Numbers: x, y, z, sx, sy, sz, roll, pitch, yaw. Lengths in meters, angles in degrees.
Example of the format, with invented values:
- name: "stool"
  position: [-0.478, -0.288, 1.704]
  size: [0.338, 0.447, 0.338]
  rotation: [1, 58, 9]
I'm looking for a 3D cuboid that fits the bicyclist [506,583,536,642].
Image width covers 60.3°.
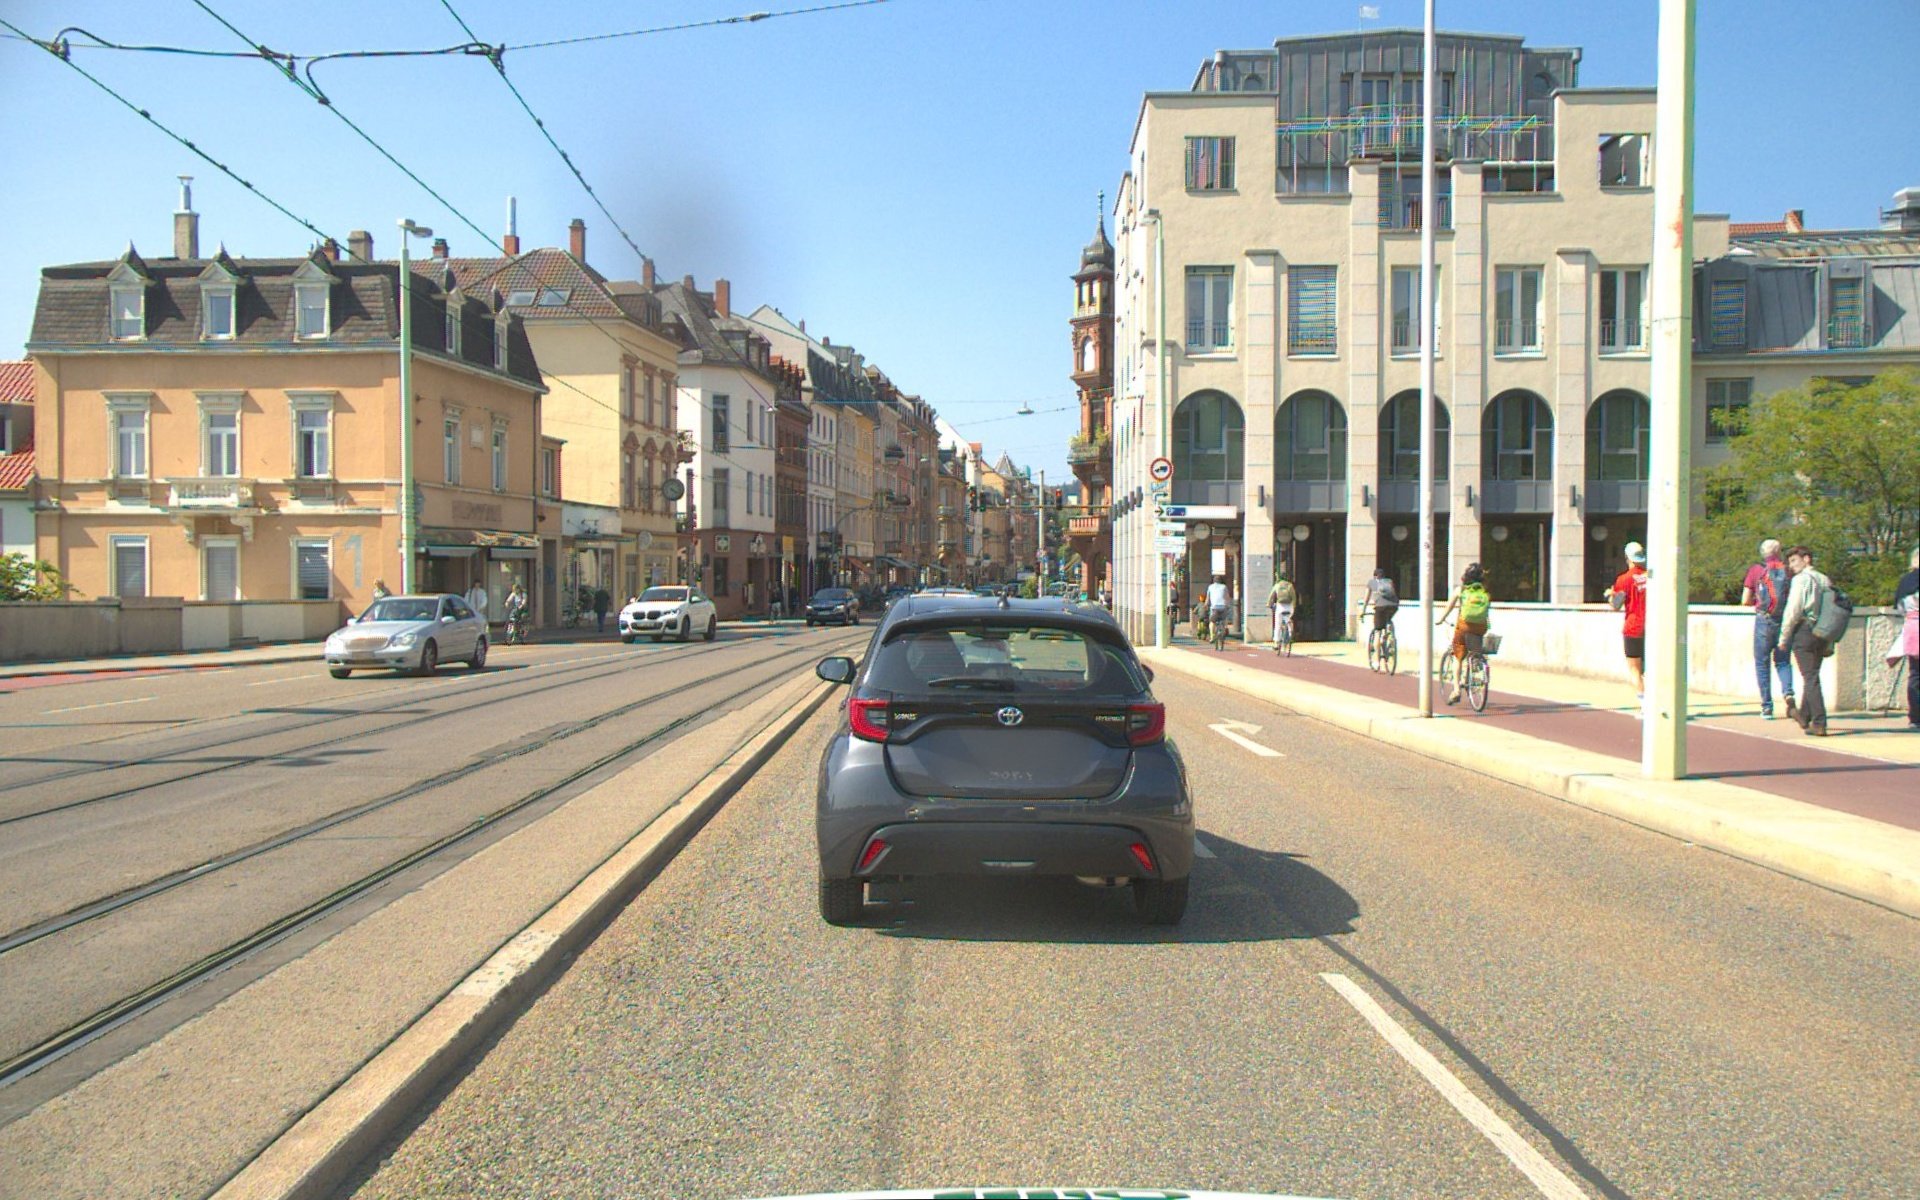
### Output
- name: "bicyclist"
  position: [-12.610, 0.351, 47.519]
  size: [0.614, 1.679, 0.622]
  rotation: [2, 1, 8]

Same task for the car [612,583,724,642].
- name: "car"
  position: [-8.443, 0.344, 48.267]
  size: [1.951, 1.614, 4.656]
  rotation: [0, 0, 7]

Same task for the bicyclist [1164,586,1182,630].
- name: "bicyclist"
  position: [7.227, 0.272, 56.118]
  size: [0.433, 1.492, 0.485]
  rotation: [-2, 0, 21]

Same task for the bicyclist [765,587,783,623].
- name: "bicyclist"
  position: [-8.783, 0.240, 78.184]
  size: [0.690, 1.679, 0.622]
  rotation: [2, 1, 8]

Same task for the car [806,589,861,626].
- name: "car"
  position: [-5.476, 0.307, 72.007]
  size: [1.756, 1.572, 3.923]
  rotation: [0, 0, 6]

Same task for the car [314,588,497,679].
- name: "car"
  position: [-9.830, 0.549, 29.690]
  size: [1.695, 1.486, 4.374]
  rotation: [1, 0, 2]

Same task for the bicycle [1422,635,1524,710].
- name: "bicycle"
  position: [5.981, 0.831, 19.387]
  size: [0.581, 0.779, 1.866]
  rotation: [-1, 0, -1]

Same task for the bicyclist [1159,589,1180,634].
- name: "bicyclist"
  position: [6.712, 0.363, 52.983]
  size: [0.523, 1.407, 0.669]
  rotation: [-2, 0, -1]

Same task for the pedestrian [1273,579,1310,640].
- name: "pedestrian"
  position: [9.390, 0.264, 46.865]
  size: [0.724, 1.642, 1.015]
  rotation: [4, 0, -1]

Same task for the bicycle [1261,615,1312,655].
- name: "bicycle"
  position: [6.821, 0.726, 34.615]
  size: [0.582, 0.779, 1.865]
  rotation: [-1, 0, -3]

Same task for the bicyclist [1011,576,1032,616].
- name: "bicyclist"
  position: [4.141, -0.291, 111.421]
  size: [1.202, 2.572, 1.105]
  rotation: [4, 0, 3]

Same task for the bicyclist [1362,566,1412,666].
- name: "bicyclist"
  position: [6.937, 0.257, 26.905]
  size: [0.575, 1.586, 0.701]
  rotation: [-1, 0, -3]

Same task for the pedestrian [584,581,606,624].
- name: "pedestrian"
  position: [-14.235, 0.089, 64.449]
  size: [0.636, 1.629, 0.566]
  rotation: [4, 2, -1]

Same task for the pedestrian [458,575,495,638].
- name: "pedestrian"
  position: [-14.251, 0.190, 48.771]
  size: [0.721, 1.796, 0.787]
  rotation: [4, 0, -1]

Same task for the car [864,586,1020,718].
- name: "car"
  position: [-0.255, 0.615, 22.053]
  size: [1.859, 1.557, 3.999]
  rotation: [1, 0, -1]

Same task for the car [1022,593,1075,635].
- name: "car"
  position: [3.308, 0.501, 62.424]
  size: [1.671, 1.491, 4.325]
  rotation: [1, 0, -1]

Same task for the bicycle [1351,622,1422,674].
- name: "bicycle"
  position: [6.940, 0.772, 26.972]
  size: [0.582, 0.779, 1.830]
  rotation: [-1, 0, -3]

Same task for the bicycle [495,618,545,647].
- name: "bicycle"
  position: [-12.625, 0.932, 47.543]
  size: [0.607, 0.728, 2.047]
  rotation: [2, 1, 8]

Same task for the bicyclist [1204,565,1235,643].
- name: "bicyclist"
  position: [6.283, 0.097, 40.035]
  size: [0.575, 1.852, 0.701]
  rotation: [-1, 0, -3]

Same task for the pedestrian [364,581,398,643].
- name: "pedestrian"
  position: [-15.755, 0.327, 44.998]
  size: [0.636, 1.629, 0.566]
  rotation: [4, 2, -1]

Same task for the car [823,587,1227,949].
- name: "car"
  position: [0.239, 0.704, 8.839]
  size: [1.685, 1.499, 3.657]
  rotation: [1, 0, -1]

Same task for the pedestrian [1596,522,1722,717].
- name: "pedestrian"
  position: [7.285, 0.195, 17.286]
  size: [0.794, 1.958, 1.127]
  rotation: [-1, 0, -1]

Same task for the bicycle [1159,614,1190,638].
- name: "bicycle"
  position: [7.270, 0.894, 56.098]
  size: [0.939, 0.779, 0.418]
  rotation: [-2, 0, 22]

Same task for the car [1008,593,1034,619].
- name: "car"
  position: [5.269, 0.469, 142.185]
  size: [1.952, 2.048, 4.002]
  rotation: [5, 0, 4]

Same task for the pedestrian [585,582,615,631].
- name: "pedestrian"
  position: [-12.911, 0.243, 59.274]
  size: [0.746, 1.682, 0.712]
  rotation: [4, 0, 8]

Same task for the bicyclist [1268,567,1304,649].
- name: "bicyclist"
  position: [6.816, 0.163, 34.611]
  size: [0.575, 1.679, 0.701]
  rotation: [-1, 0, -3]

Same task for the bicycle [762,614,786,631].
- name: "bicycle"
  position: [-8.801, 1.057, 78.263]
  size: [0.607, 0.728, 2.047]
  rotation: [2, 1, 8]

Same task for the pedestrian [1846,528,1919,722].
- name: "pedestrian"
  position: [9.251, 0.224, 16.001]
  size: [0.725, 1.808, 1.015]
  rotation: [-2, 0, -5]

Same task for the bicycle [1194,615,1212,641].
- name: "bicycle"
  position: [7.682, 0.889, 52.289]
  size: [0.408, 0.779, 0.961]
  rotation: [-2, 0, -1]

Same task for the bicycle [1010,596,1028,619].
- name: "bicycle"
  position: [3.965, 0.509, 111.600]
  size: [1.089, 1.444, 3.008]
  rotation: [4, 0, 2]

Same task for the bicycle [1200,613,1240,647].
- name: "bicycle"
  position: [6.284, 0.712, 40.047]
  size: [0.582, 0.779, 1.865]
  rotation: [-1, 0, -3]

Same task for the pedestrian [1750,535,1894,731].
- name: "pedestrian"
  position: [8.046, 0.295, 15.484]
  size: [0.739, 1.748, 1.073]
  rotation: [-2, 0, -1]

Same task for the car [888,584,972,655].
- name: "car"
  position: [-0.712, 0.438, 39.266]
  size: [1.859, 1.557, 3.999]
  rotation: [1, 0, -1]

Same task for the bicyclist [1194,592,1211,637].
- name: "bicyclist"
  position: [7.671, 0.469, 52.345]
  size: [0.413, 1.407, 0.443]
  rotation: [-2, 0, -1]

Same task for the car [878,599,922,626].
- name: "car"
  position: [-3.404, 0.683, 94.171]
  size: [1.951, 1.457, 4.003]
  rotation: [1, 0, 6]

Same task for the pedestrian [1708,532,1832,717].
- name: "pedestrian"
  position: [8.328, 0.241, 17.046]
  size: [0.724, 1.833, 1.015]
  rotation: [-2, 0, -1]

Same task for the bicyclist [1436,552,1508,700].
- name: "bicyclist"
  position: [5.971, 0.296, 19.311]
  size: [0.592, 1.679, 0.702]
  rotation: [-1, 0, 0]

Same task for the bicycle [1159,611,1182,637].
- name: "bicycle"
  position: [6.728, 0.754, 52.923]
  size: [0.503, 0.779, 1.660]
  rotation: [-2, 0, -1]

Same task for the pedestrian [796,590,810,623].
- name: "pedestrian"
  position: [-8.704, 0.361, 91.608]
  size: [0.721, 1.797, 0.787]
  rotation: [0, 1, -1]
